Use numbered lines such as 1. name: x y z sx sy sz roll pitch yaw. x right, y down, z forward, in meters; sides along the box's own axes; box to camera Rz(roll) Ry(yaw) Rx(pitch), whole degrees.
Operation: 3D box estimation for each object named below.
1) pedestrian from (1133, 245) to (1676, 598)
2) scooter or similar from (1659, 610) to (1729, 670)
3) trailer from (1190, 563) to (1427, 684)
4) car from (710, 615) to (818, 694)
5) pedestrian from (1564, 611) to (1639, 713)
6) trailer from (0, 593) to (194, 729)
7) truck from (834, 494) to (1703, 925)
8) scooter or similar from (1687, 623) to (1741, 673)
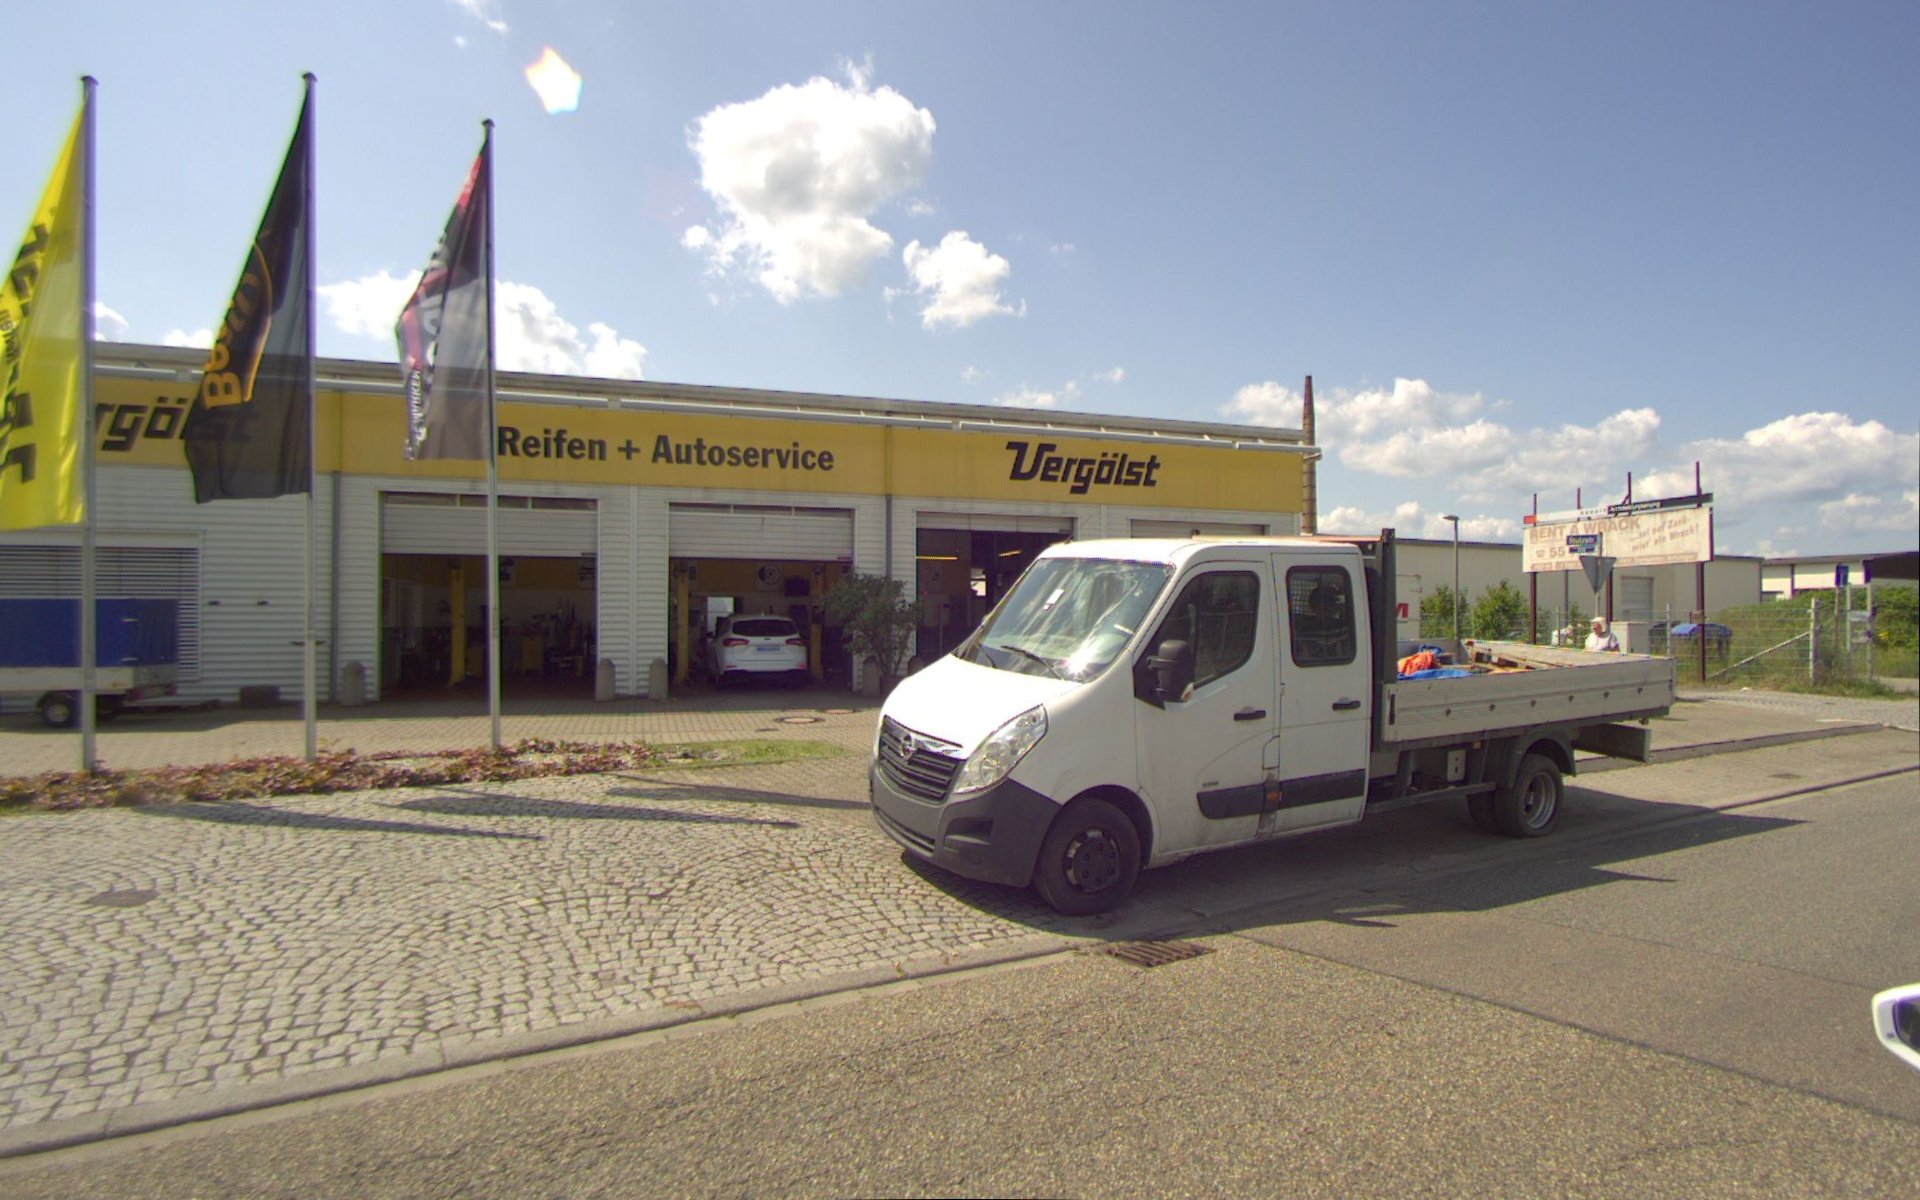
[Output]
1. pedestrian: 3.554 -1.082 7.941 3.953 2.040 1.984 2 -1 -30
2. scooter or similar: 20.258 1.097 27.774 1.146 1.607 1.320 0 -1 15
3. trailer: 9.250 0.626 27.541 2.716 2.889 6.510 0 -1 -20
4. car: -4.096 1.058 20.623 1.762 1.456 3.569 0 -1 -18
5. pedestrian: 10.132 0.957 15.864 0.907 1.566 0.657 0 -1 -30
6. trailer: -12.153 0.777 13.281 2.919 1.714 1.267 1 0 -15
7. truck: 2.790 0.596 7.968 7.258 2.269 2.119 1 1 -29
8. scooter or similar: 19.908 1.257 26.549 0.864 1.292 0.898 0 -1 15
